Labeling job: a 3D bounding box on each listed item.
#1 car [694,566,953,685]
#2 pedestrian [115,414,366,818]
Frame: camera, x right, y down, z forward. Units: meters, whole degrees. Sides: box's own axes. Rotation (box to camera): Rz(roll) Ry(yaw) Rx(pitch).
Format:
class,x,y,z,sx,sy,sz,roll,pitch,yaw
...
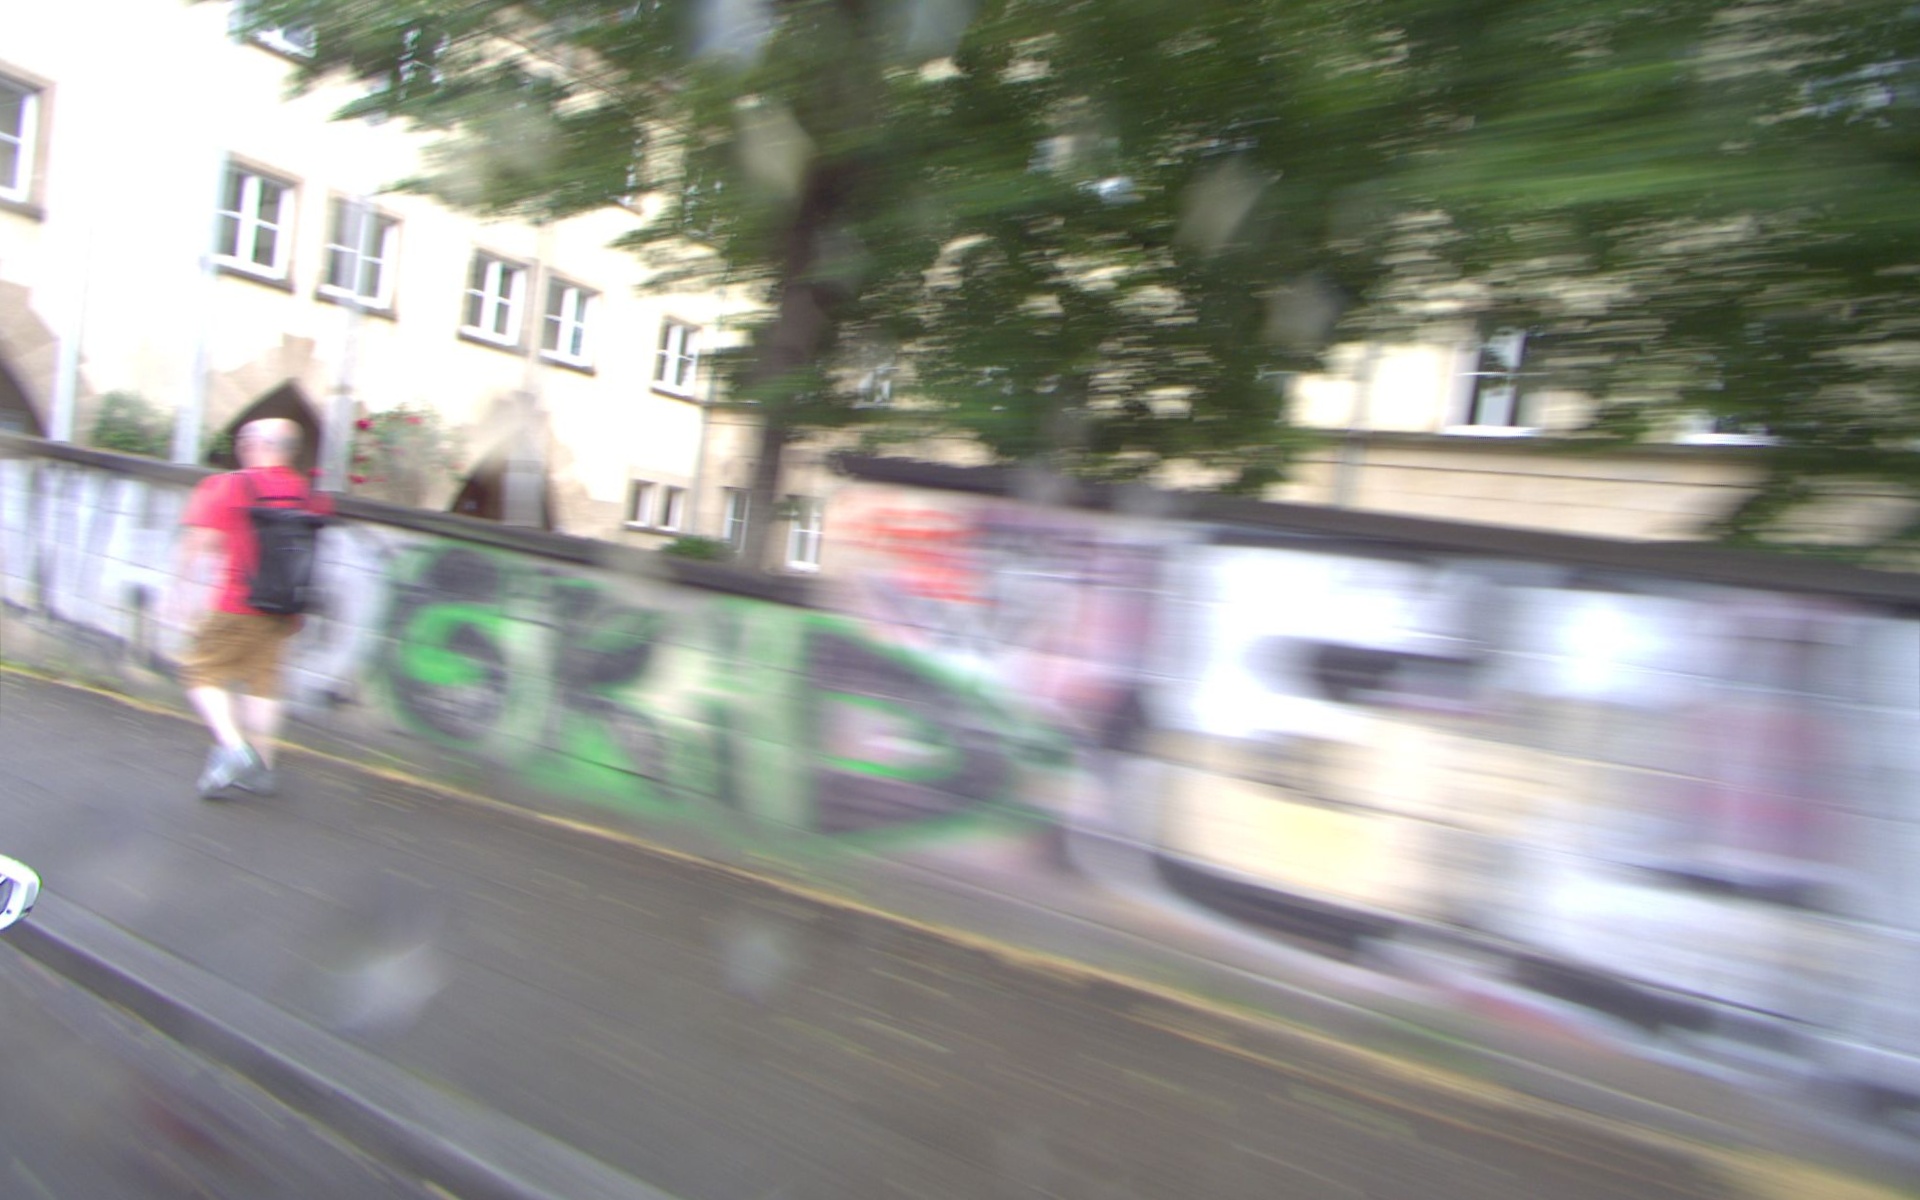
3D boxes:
class,x,y,z,sx,sy,sz,roll,pitch,yaw
car,-2.200,0.453,17.423,1.766,1.609,4.448,9,3,35
pedestrian,-3.411,0.055,4.783,0.699,1.744,0.633,7,2,28
